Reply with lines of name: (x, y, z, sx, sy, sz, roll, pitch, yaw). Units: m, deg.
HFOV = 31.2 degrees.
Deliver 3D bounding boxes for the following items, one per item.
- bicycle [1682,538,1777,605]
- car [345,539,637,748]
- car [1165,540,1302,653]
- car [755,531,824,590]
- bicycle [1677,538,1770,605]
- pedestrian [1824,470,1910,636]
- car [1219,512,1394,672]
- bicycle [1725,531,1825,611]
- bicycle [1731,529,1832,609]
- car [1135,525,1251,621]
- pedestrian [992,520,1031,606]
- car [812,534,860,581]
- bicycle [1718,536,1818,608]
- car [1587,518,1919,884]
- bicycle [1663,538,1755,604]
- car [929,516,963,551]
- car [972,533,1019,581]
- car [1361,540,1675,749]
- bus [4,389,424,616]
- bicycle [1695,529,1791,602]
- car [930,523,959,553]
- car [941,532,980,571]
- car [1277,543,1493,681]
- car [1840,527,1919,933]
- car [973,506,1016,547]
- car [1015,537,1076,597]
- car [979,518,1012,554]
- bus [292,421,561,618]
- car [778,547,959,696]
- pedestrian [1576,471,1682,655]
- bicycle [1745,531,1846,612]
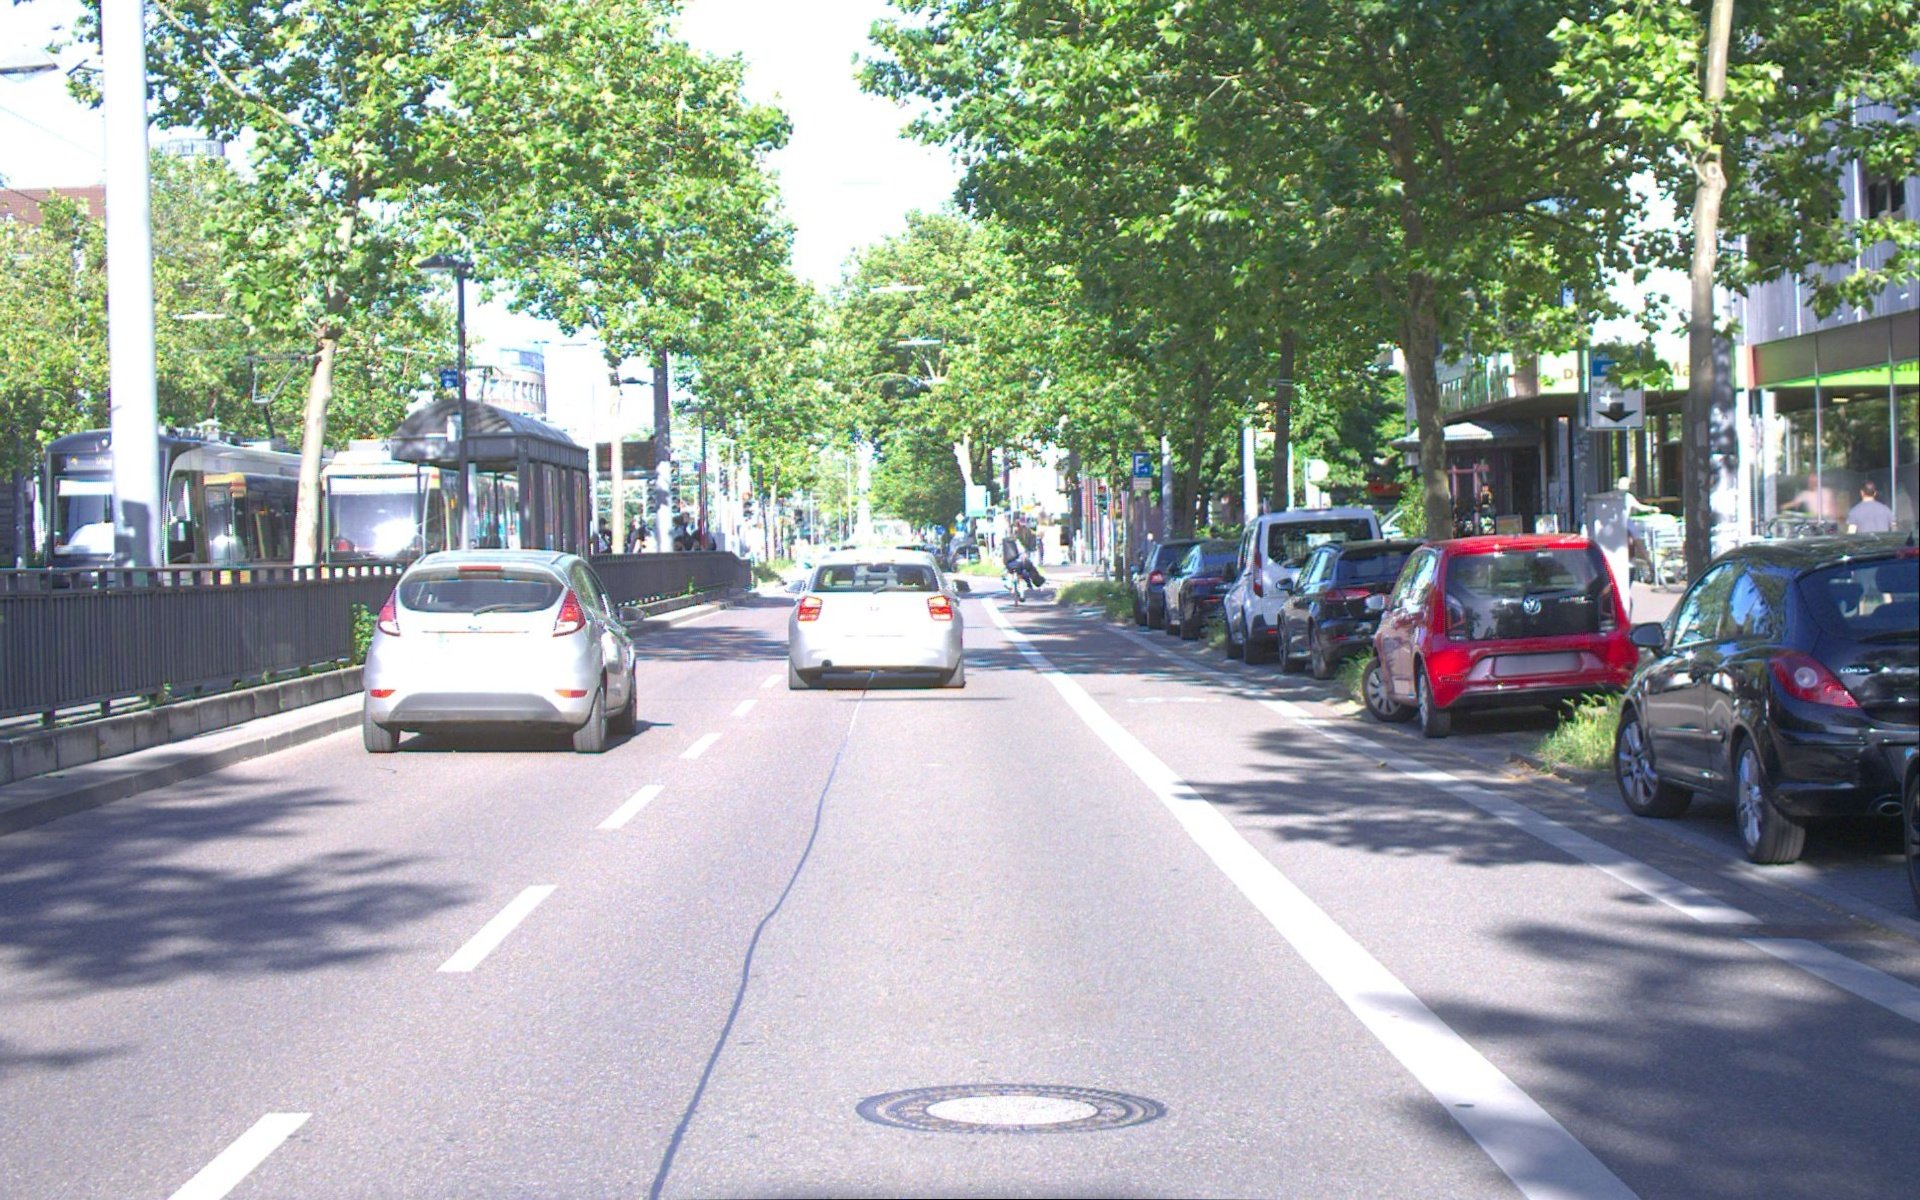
bicycle: (11.816, -0.444, 52.805, 1.383, 1.009, 0.243, 0, 2, -1)
car: (-3.392, 0.266, 25.445, 1.646, 1.358, 3.760, 0, 2, 0)
car: (4.067, -0.085, 51.551, 1.711, 1.557, 4.000, 0, 2, 0)
car: (-5.417, -1.278, 109.722, 1.993, 1.810, 4.000, 0, 2, 0)
bicycle: (11.840, -0.442, 53.334, 1.383, 1.020, 0.243, 0, 2, -1)
pedestrian: (11.204, -0.582, 42.501, 0.788, 2.007, 0.891, -2, 1, 0)
car: (4.217, -0.137, 42.373, 1.724, 1.874, 4.000, 0, 1, 0)
bicycle: (11.892, -0.427, 50.196, 1.383, 1.144, 0.243, 0, 2, -1)
bicycle: (11.906, -0.444, 49.829, 1.383, 1.144, 0.243, 0, 2, -1)
car: (3.946, -0.490, 58.704, 1.700, 1.529, 3.717, 0, 2, 0)
pedestrian: (1.222, -0.886, 81.048, 0.838, 2.006, 0.648, 1, 2, 7)
car: (-5.453, -1.883, 151.809, 1.993, 2.006, 4.000, 0, 2, 0)
bicycle: (11.863, -0.412, 50.480, 1.383, 1.052, 0.243, 0, 2, -1)
car: (4.300, 0.395, 16.917, 1.669, 1.546, 4.000, 0, 2, 0)
bicycle: (11.843, -0.461, 54.377, 1.383, 1.024, 0.243, 0, 2, -1)
car: (-0.842, -3.949, 204.047, 1.993, 2.006, 4.000, 0, 2, 0)
car: (1.554, -1.908, 151.374, 1.993, 2.006, 4.000, 0, 2, 0)
car: (4.309, 0.294, 27.100, 1.806, 1.515, 4.000, 0, 1, 0)
bus: (-13.935, -1.921, 67.676, 2.869, 3.616, 24.605, -1, 2, 0)
bicycle: (11.916, -0.519, 52.331, 1.383, 1.094, 0.243, 0, 2, -1)
car: (-1.063, -4.336, 239.061, 1.993, 2.006, 4.000, 0, 2, 0)
car: (0.034, -2.661, 188.040, 2.071, 2.007, 4.000, -2, 1, 0)
car: (4.457, 0.091, 36.560, 1.781, 1.376, 4.000, 0, 1, 0)
car: (4.560, 0.505, 11.586, 1.993, 1.504, 4.598, 0, 1, 0)
car: (1.759, -3.757, 175.892, 1.993, 2.007, 4.000, -2, 1, -1)
car: (2.654, -1.049, 107.667, 1.809, 1.785, 3.912, 0, 2, 0)
car: (2.058, -3.730, 198.979, 1.875, 2.006, 3.712, 0, 2, 0)
bus: (-10.988, -1.766, 73.175, 2.750, 3.613, 18.849, -1, 2, 0)
car: (-0.938, 0.180, 35.786, 1.762, 1.427, 4.000, -1, 1, -1)
pedestrian: (7.504, -0.418, 38.592, 0.963, 2.007, 0.938, -2, 1, 0)
bicycle: (12.034, -0.408, 49.503, 1.383, 1.144, 0.243, 0, 2, -1)
